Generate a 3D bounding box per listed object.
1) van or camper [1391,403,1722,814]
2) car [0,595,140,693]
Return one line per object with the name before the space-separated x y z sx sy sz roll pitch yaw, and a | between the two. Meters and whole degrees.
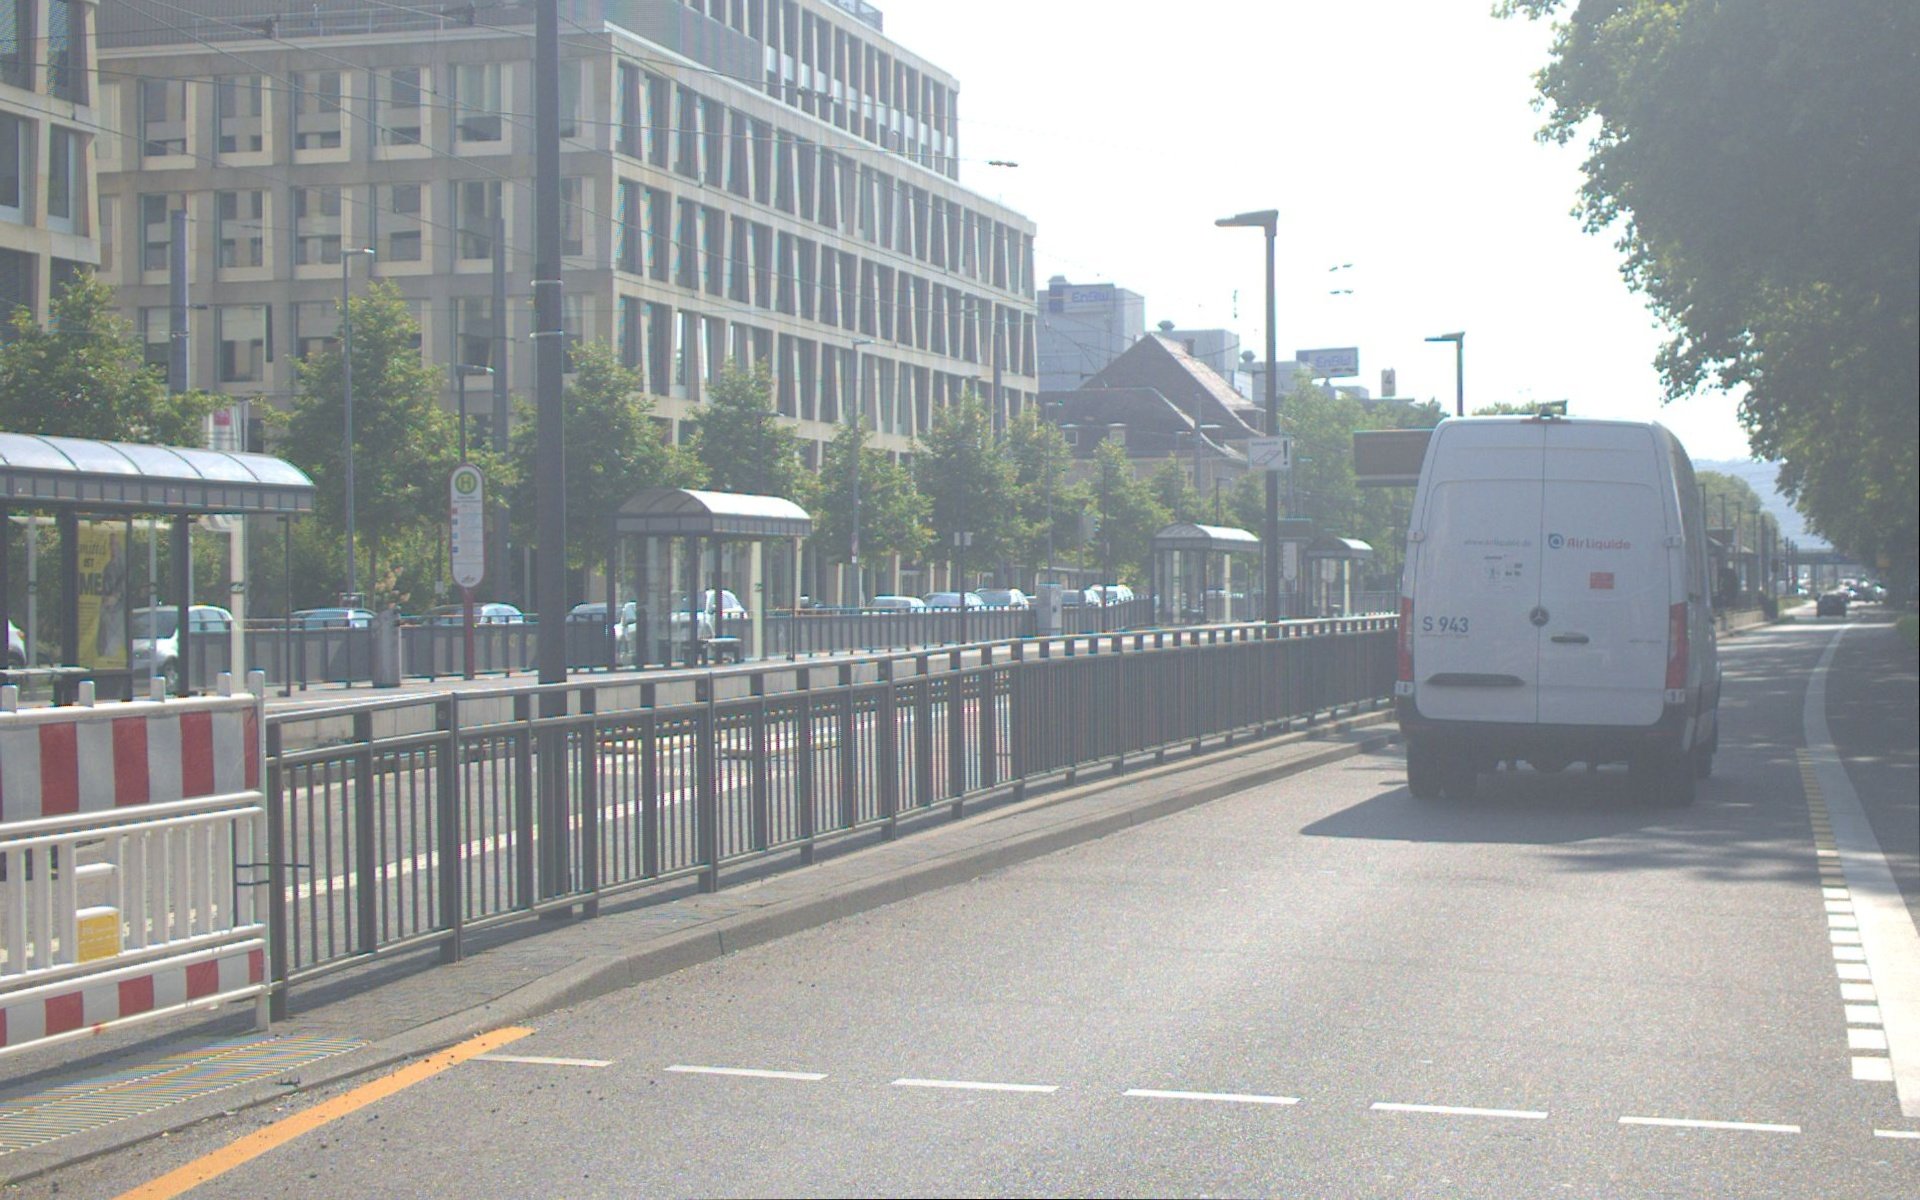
van or camper | 4.469 0.024 25.174 2.116 2.673 5.247 1 0 12
car | -14.440 0.666 52.942 1.685 1.402 4.370 -1 0 14
